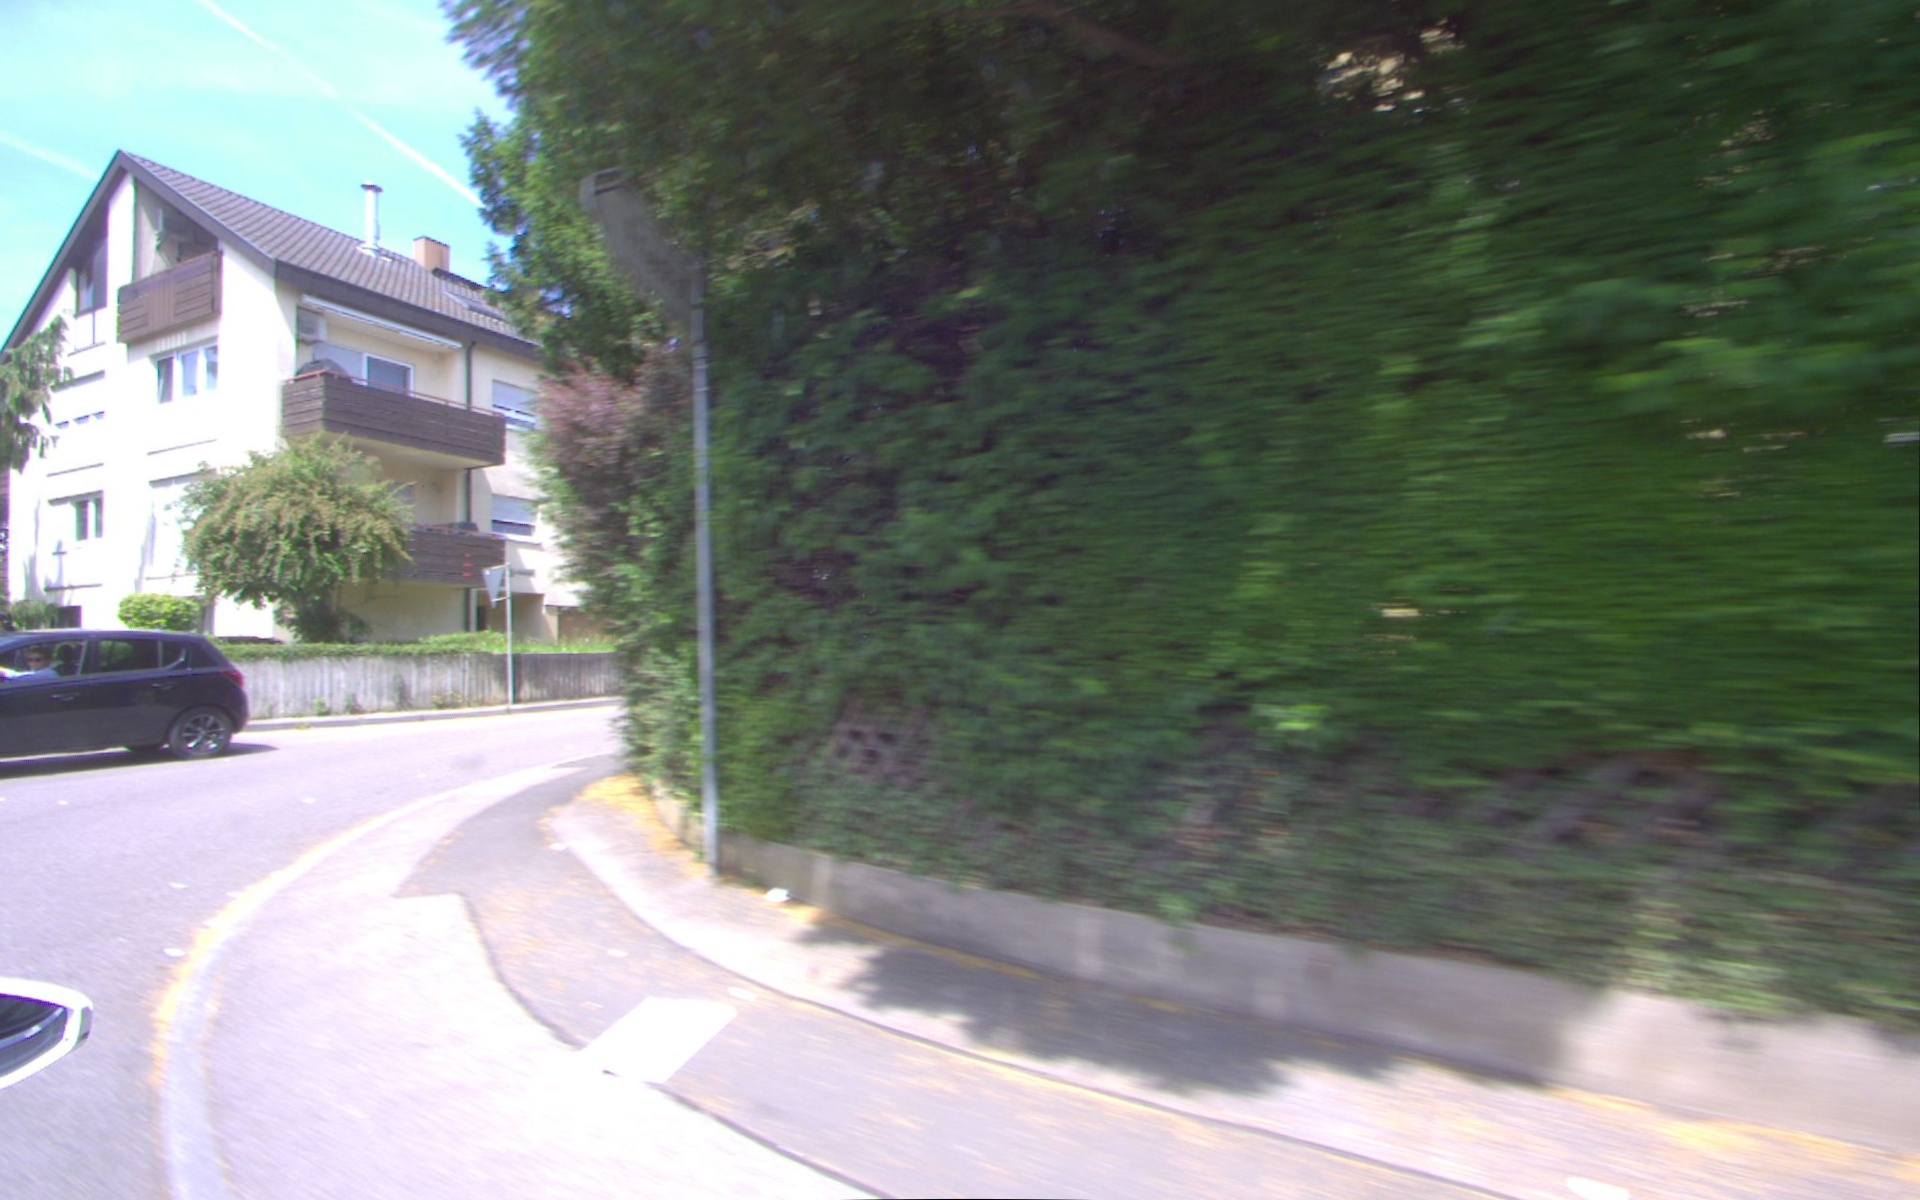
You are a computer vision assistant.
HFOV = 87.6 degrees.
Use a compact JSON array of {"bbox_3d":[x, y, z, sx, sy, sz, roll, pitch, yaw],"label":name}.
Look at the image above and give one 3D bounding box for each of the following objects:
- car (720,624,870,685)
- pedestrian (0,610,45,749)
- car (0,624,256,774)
[{"bbox_3d":[-4.908,1.611,29.776,3.936,1.682,1.995,0,-4,26],"label":"car"},{"bbox_3d":[-11.871,0.971,12.420,0.691,1.693,0.565,2,-1,-39],"label":"pedestrian"},{"bbox_3d":[-9.969,0.991,10.502,1.634,1.476,3.928,-1,-2,31],"label":"car"}]
